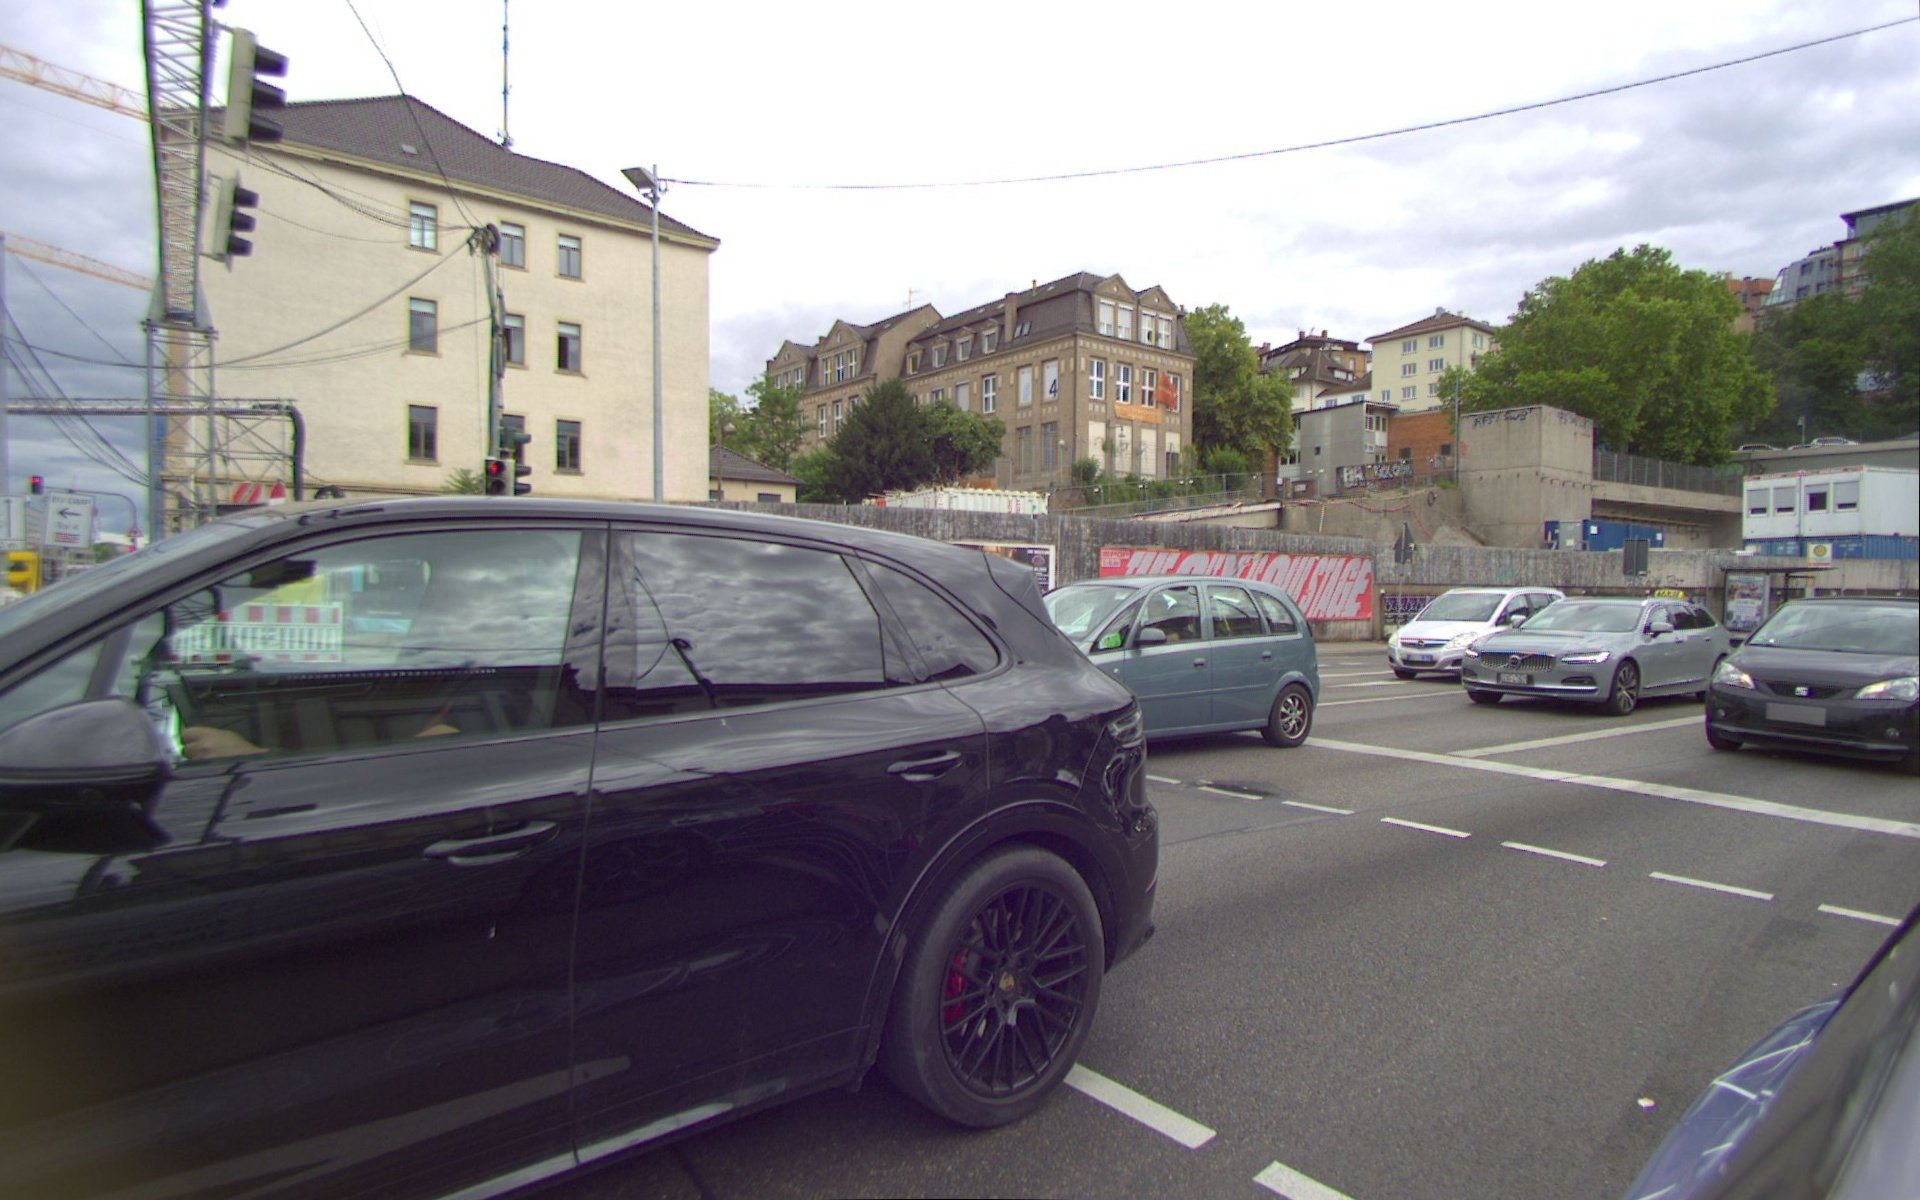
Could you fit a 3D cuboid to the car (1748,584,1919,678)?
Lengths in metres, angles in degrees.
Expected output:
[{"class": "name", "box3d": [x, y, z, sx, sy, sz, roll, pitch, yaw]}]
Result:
[{"class": "car", "box3d": [17.066, 0.530, 19.386, 4.353, 1.598, 1.812, 0, 1, -34]}]

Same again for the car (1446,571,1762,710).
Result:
[{"class": "car", "box3d": [8.788, 0.453, 13.685, 4.592, 1.598, 1.912, 0, 1, -34]}]

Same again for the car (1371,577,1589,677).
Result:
[{"class": "car", "box3d": [9.226, 0.421, 17.873, 3.993, 1.594, 1.693, 0, 0, -34]}]

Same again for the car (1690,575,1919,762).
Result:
[{"class": "car", "box3d": [9.067, 0.541, 9.878, 4.333, 1.488, 1.735, 0, 1, -34]}]

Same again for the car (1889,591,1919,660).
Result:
[{"class": "car", "box3d": [24.198, 0.614, 24.291, 4.353, 1.598, 1.812, 0, 1, -34]}]

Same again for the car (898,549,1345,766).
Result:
[{"class": "car", "box3d": [1.552, 0.455, 9.223, 3.878, 1.594, 1.693, 2, 0, -34]}]

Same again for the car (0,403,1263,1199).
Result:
[{"class": "car", "box3d": [-1.381, 0.526, 2.613, 4.526, 1.668, 1.955, -1, 2, -39]}]
